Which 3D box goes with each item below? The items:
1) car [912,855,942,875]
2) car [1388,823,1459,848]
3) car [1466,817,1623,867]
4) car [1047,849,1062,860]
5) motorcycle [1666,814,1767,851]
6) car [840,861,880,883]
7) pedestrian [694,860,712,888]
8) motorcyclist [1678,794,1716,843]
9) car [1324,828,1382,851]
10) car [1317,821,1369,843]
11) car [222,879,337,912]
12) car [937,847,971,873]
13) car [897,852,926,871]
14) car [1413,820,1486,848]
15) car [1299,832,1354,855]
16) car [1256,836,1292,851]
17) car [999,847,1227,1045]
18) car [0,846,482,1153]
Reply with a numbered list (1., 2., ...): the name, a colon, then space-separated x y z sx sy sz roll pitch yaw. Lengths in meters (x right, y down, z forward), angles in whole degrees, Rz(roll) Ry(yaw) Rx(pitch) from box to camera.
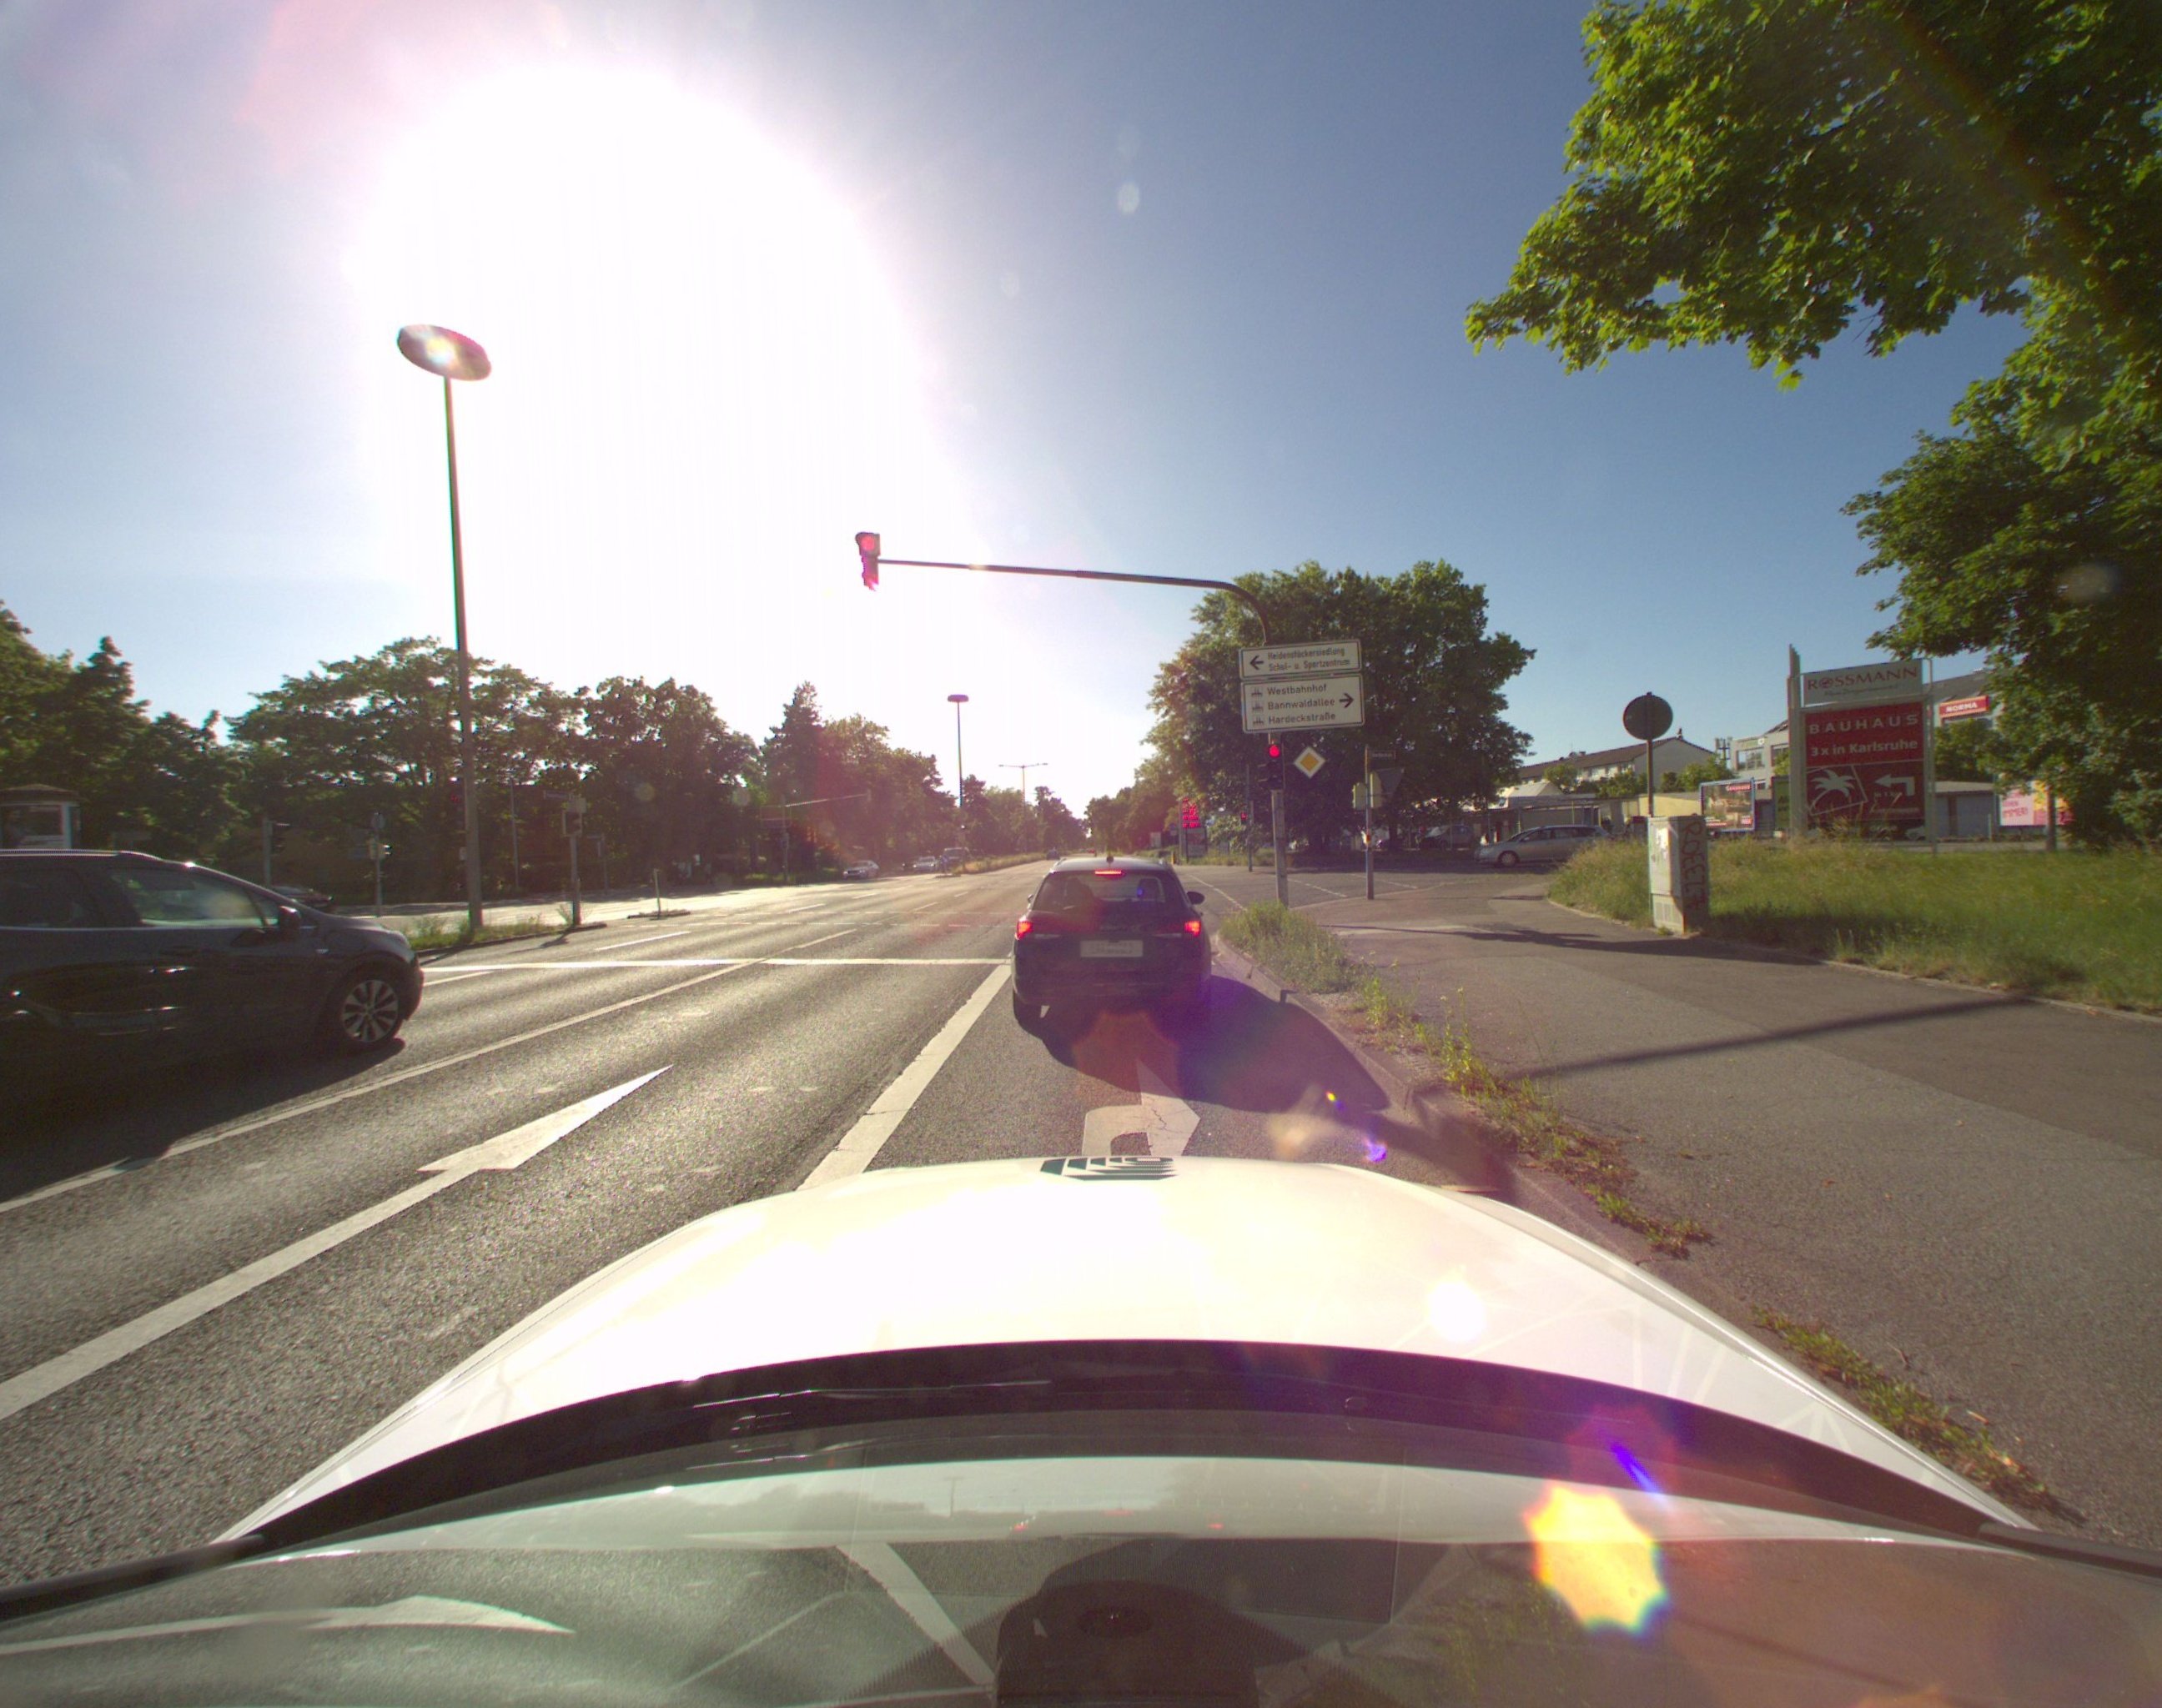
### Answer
1. car: -13.908 0.979 73.815 1.857 1.684 4.002 0 0 2
2. car: 21.394 -1.116 50.925 3.846 1.482 1.794 0 0 -18
3. car: 16.941 -0.418 30.000 4.587 1.574 2.007 -2 -1 12
4. car: -3.800 0.086 116.660 1.882 1.552 4.001 -2 0 1
5. motorcycle: 22.443 -0.748 28.828 2.703 1.270 0.838 0 0 17
6. car: -17.302 1.375 64.006 1.857 1.684 4.262 0 0 2
7. pedestrian: -25.436 1.338 54.779 0.842 1.835 0.550 -3 0 5
8. motorcyclist: 21.912 -1.251 28.971 0.853 1.680 0.838 0 -1 18
9. car: 19.359 -1.026 57.955 3.860 1.563 1.787 0 0 -31
10. car: 21.350 -1.775 66.324 3.701 1.685 1.703 0 0 -2
11. car: -36.889 1.882 37.514 3.892 1.423 1.876 0 0 12
12. car: -10.251 0.466 65.952 1.986 2.014 4.001 0 0 2
13. car: -17.509 0.733 84.400 1.986 1.749 4.002 -4 0 2
14. car: 22.163 -1.154 49.017 3.846 1.612 1.794 0 0 -18
15. car: 18.216 -0.771 60.455 3.729 1.685 1.690 0 0 -25
16. car: 22.027 -1.227 93.056 3.701 1.685 1.703 0 0 -2
17. car: 0.304 0.731 8.290 1.749 1.509 3.810 -1 0 1
18. car: -6.577 0.800 5.463 1.689 1.632 4.419 -2 0 2
